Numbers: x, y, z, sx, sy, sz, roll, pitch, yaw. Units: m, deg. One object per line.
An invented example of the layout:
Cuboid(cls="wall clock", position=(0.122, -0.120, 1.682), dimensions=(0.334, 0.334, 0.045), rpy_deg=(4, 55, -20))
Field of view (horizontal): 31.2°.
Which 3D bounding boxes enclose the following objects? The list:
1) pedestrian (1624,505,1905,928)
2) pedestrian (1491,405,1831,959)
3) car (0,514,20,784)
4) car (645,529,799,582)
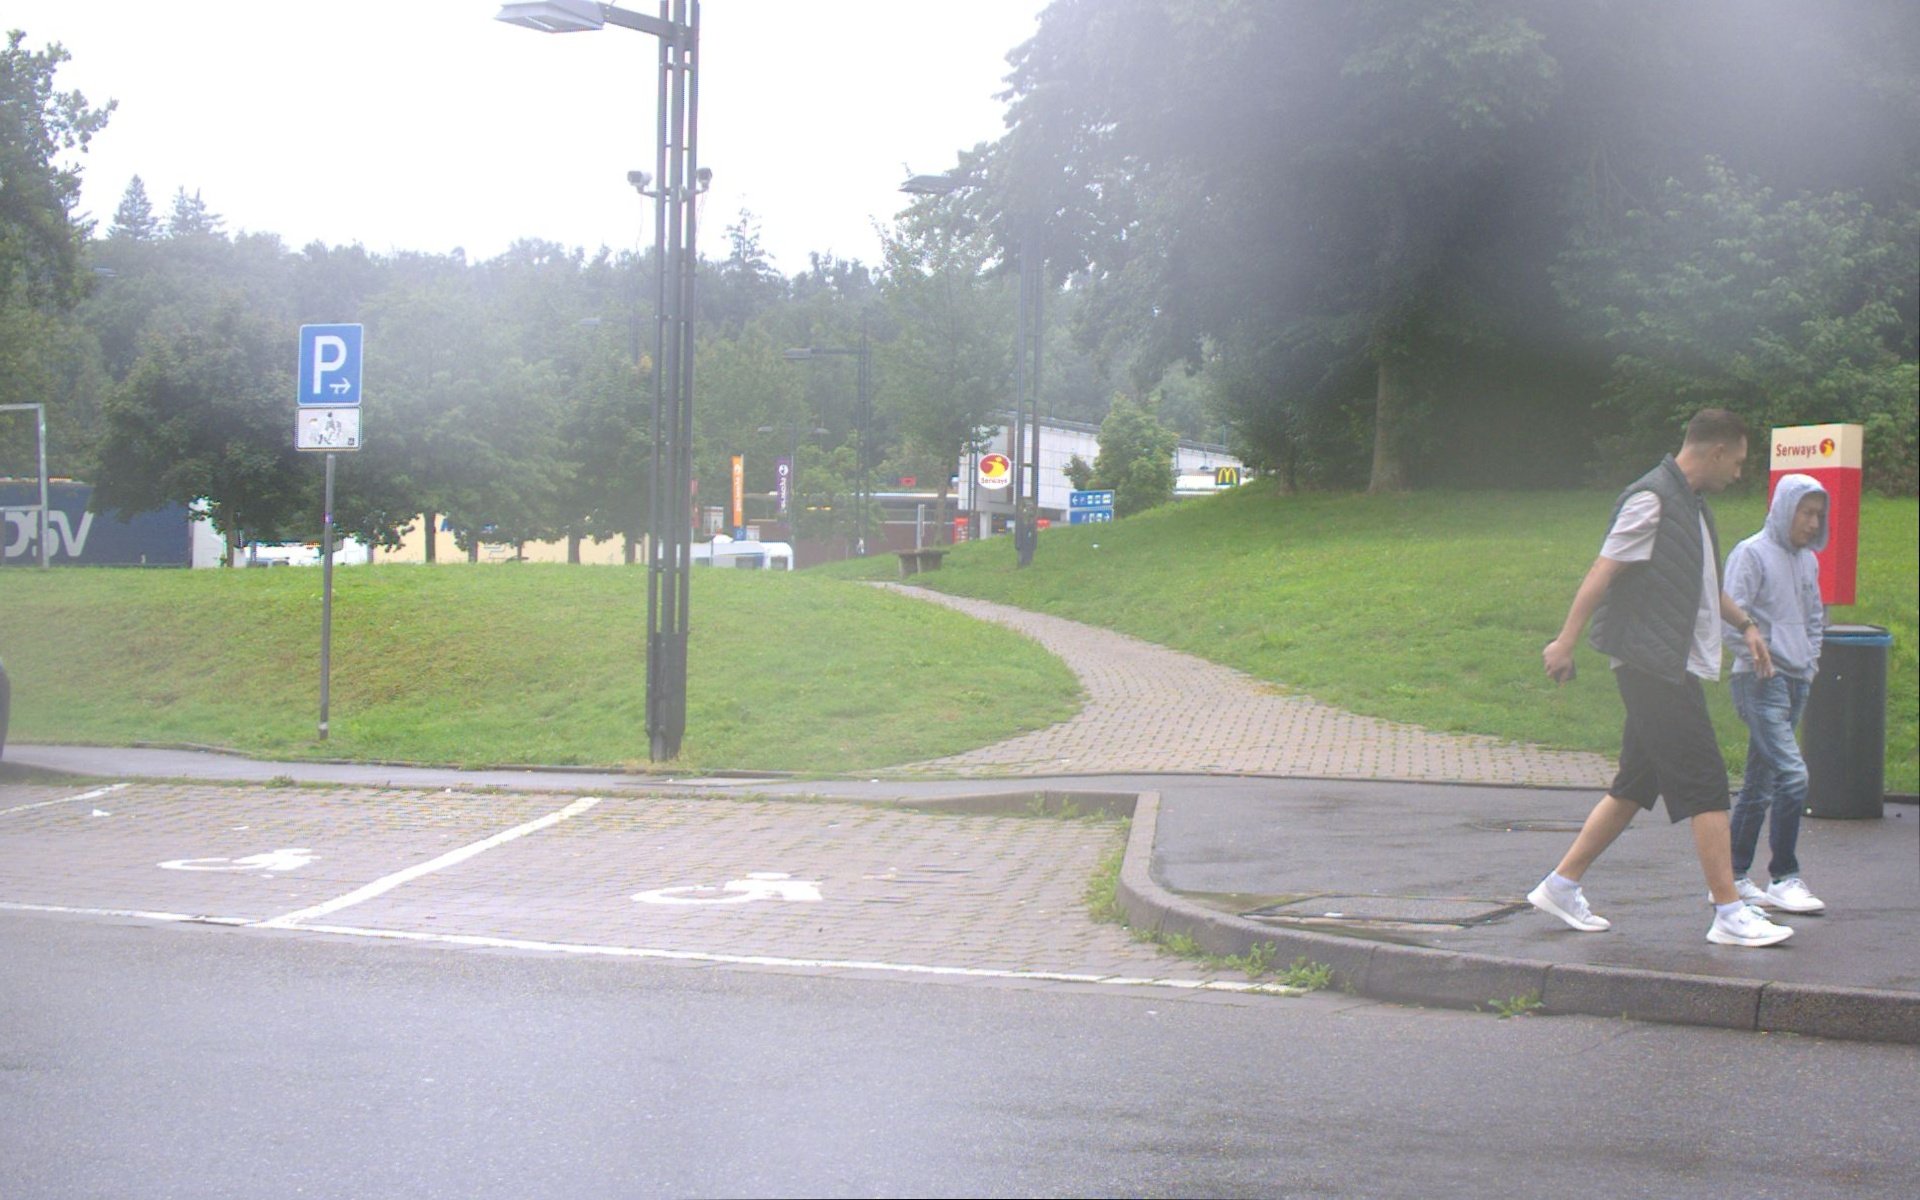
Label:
Cuboid(cls="pedestrian", position=(3.057, 0.417, 13.049), dimensions=(0.890, 1.544, 0.659), rpy_deg=(0, 1, 29))
Cuboid(cls="pedestrian", position=(2.454, 0.264, 12.004), dimensions=(0.974, 1.842, 0.772), rpy_deg=(0, 1, 28))
Cuboid(cls="car", position=(-7.766, 0.370, 21.460), dimensions=(1.885, 1.821, 4.411), rpy_deg=(0, 1, 11))
Cuboid(cls="car", position=(-9.249, -1.740, 133.787), dimensions=(5.429, 2.007, 2.453), rpy_deg=(1, 1, 20))
